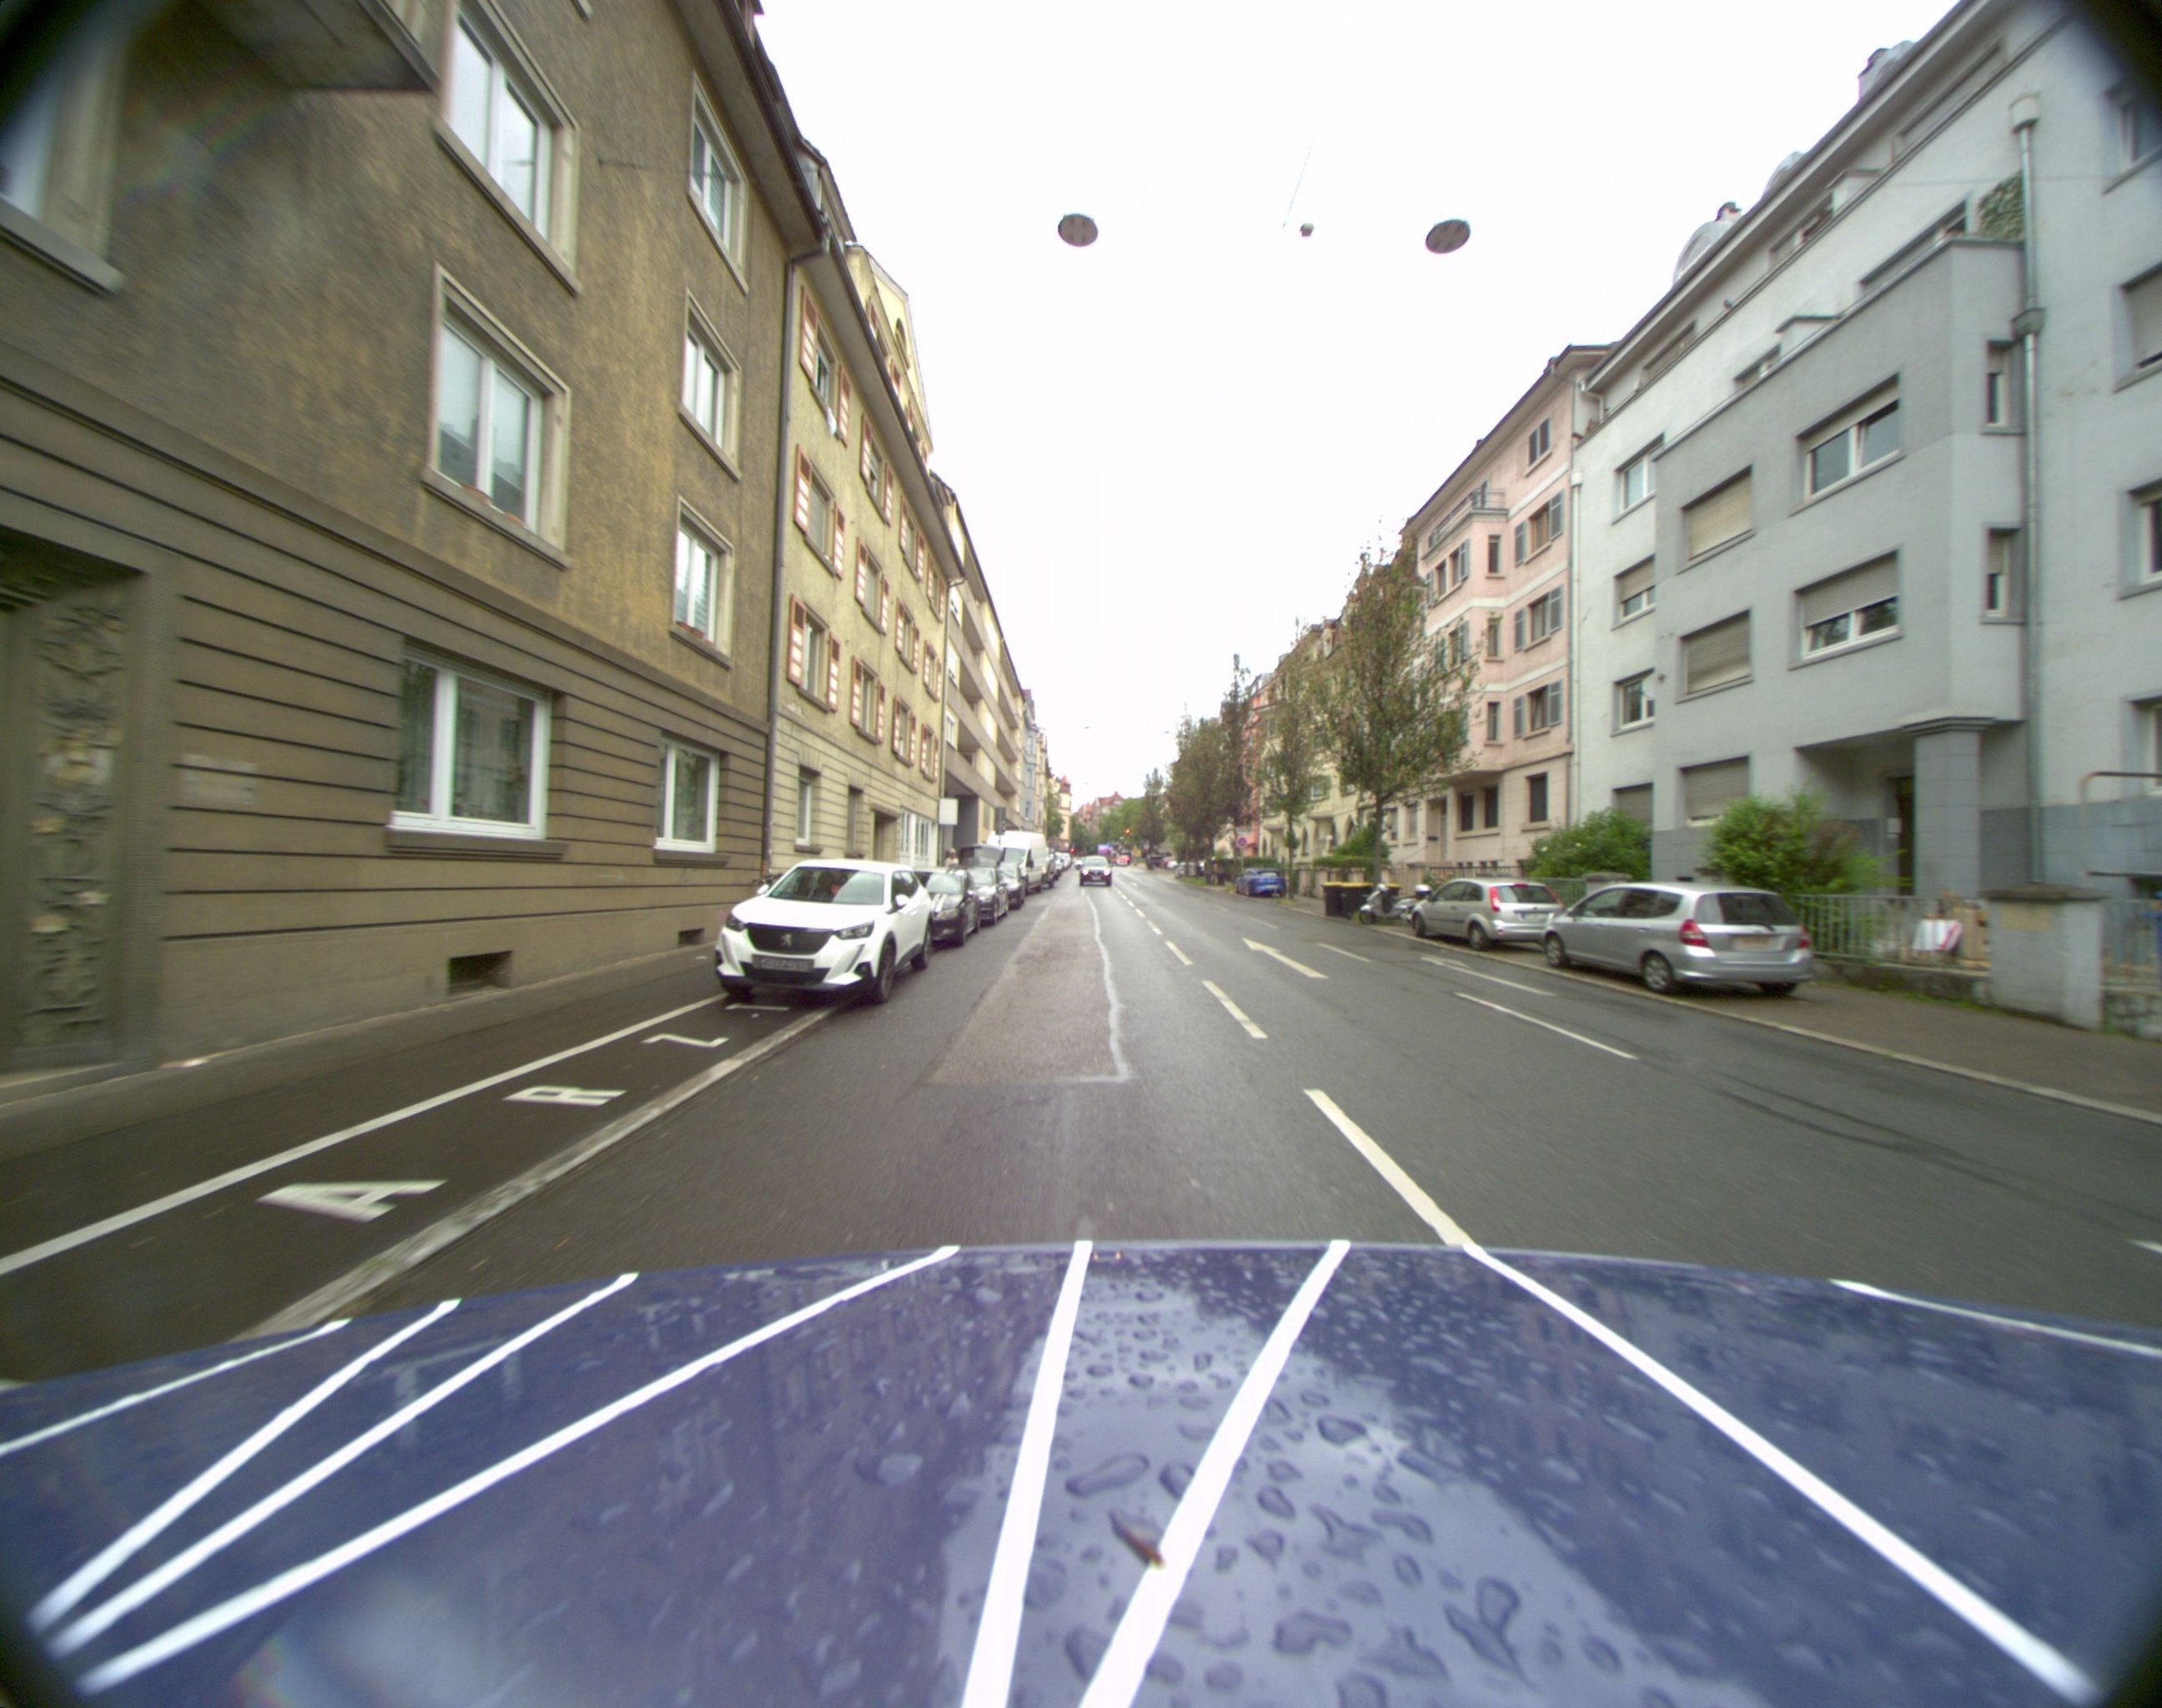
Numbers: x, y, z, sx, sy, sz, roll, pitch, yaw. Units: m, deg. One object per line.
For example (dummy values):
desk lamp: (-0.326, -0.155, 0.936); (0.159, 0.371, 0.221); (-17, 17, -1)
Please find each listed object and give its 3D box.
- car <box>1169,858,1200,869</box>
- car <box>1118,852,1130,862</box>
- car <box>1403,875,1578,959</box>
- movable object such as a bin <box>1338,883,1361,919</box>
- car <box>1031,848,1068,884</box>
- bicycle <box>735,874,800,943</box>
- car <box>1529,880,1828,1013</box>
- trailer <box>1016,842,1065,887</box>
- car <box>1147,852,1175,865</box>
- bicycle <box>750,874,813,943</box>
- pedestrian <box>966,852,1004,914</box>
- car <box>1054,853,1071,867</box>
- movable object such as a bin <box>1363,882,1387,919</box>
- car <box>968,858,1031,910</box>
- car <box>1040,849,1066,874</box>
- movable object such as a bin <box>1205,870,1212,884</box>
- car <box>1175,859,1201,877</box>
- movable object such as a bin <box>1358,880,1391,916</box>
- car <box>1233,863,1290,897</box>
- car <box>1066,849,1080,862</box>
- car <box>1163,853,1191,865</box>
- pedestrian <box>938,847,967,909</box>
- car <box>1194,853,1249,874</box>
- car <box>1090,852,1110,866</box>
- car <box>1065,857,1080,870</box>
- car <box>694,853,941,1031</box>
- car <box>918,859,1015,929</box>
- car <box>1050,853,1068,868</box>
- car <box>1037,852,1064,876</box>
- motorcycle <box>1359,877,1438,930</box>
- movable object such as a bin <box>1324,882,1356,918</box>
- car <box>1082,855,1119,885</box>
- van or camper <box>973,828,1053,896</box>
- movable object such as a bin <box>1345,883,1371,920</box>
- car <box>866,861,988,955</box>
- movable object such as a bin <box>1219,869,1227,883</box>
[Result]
car: (13.920, 1.264, 102.501); (3.928, 1.289, 1.646); (2, 1, 1)
car: (7.072, 0.530, 125.908); (1.772, 1.540, 3.652); (0, 1, 0)
car: (8.553, 1.248, 16.275); (1.605, 1.388, 3.886); (1, 1, 0)
movable object such as a bin: (8.243, 1.441, 23.340); (0.472, 1.052, 0.483); (-2, 2, -9)
car: (-1.963, 0.717, 49.318); (2.159, 2.136, 5.509); (2, 1, 0)
bicycle: (-5.727, 0.948, 13.971); (0.248, 1.067, 2.106); (3, 1, 1)
car: (8.618, 1.226, 11.455); (1.604, 1.443, 3.888); (1, 1, 4)
trailer: (-2.069, 0.538, 40.424); (1.998, 2.139, 5.074); (3, -1, 3)
car: (12.150, 0.727, 115.731); (3.930, 1.836, 1.867); (2, 1, -2)
bicycle: (-5.478, 0.959, 13.995); (0.248, 1.067, 2.106); (3, 1, 1)
pedestrian: (-2.778, 0.843, 22.011); (0.630, 1.681, 0.637); (8, 2, 43)
car: (-2.066, 0.622, 84.903); (1.709, 1.434, 3.932); (2, 1, 1)
movable object such as a bin: (8.839, 1.387, 22.821); (0.472, 1.052, 0.483); (-2, 2, -9)
car: (-2.584, 0.911, 25.018); (1.782, 1.471, 4.188); (1, 1, -3)
car: (-2.324, 0.579, 64.624); (1.994, 1.944, 4.822); (2, 1, 0)
movable object such as a bin: (8.405, 1.500, 49.960); (0.365, 0.884, 0.572); (-1, 1, 0)
car: (9.278, 1.192, 66.105); (1.685, 1.409, 4.137); (2, 1, 1)
movable object such as a bin: (9.048, 1.359, 23.447); (0.827, 1.052, 0.483); (-1, 2, 1)
car: (8.787, 1.236, 37.320); (1.683, 1.378, 4.602); (1, 1, 0)
car: (-1.047, 0.181, 104.395); (1.826, 1.808, 4.519); (2, 1, 1)
car: (14.261, 0.719, 112.666); (3.928, 1.613, 1.592); (2, 1, 1)
pedestrian: (-3.811, 0.705, 22.528); (0.687, 1.777, 0.712); (2, 2, -18)
car: (13.189, 0.856, 71.496); (4.731, 1.894, 1.918); (0, 1, -2)
car: (2.189, 0.512, 86.182); (1.668, 1.464, 3.655); (0, 1, 10)
car: (-1.001, 1.151, 91.706); (1.709, 1.389, 3.932); (-2, 0, 1)
car: (-2.968, 0.861, 9.543); (1.636, 1.629, 4.194); (4, 0, -1)
car: (-2.797, 0.929, 19.565); (1.782, 1.471, 4.587); (1, 1, 0)
car: (-2.256, 0.679, 79.177); (1.731, 1.434, 4.358); (2, 1, 1)
car: (-2.245, 0.737, 56.586); (1.751, 1.630, 4.272); (2, 1, 0)
motorcycle: (8.571, 1.312, 20.560); (1.806, 1.307, 0.743); (2, 1, 42)
movable object such as a bin: (8.140, 1.438, 23.907); (0.827, 1.052, 0.483); (-2, 2, 1)
car: (1.097, 0.892, 43.777); (1.890, 1.543, 3.999); (-2, 1, -1)
van or camper: (-2.848, 0.328, 33.665); (2.188, 2.684, 6.423); (2, 0, 7)
movable object such as a bin: (8.255, 1.398, 22.623); (0.526, 1.052, 0.482); (-3, 2, -21)
car: (-2.892, 0.951, 15.025); (1.636, 1.470, 3.734); (4, 0, -1)
movable object such as a bin: (9.351, 1.449, 50.003); (0.365, 0.906, 0.572); (-1, 1, 0)
